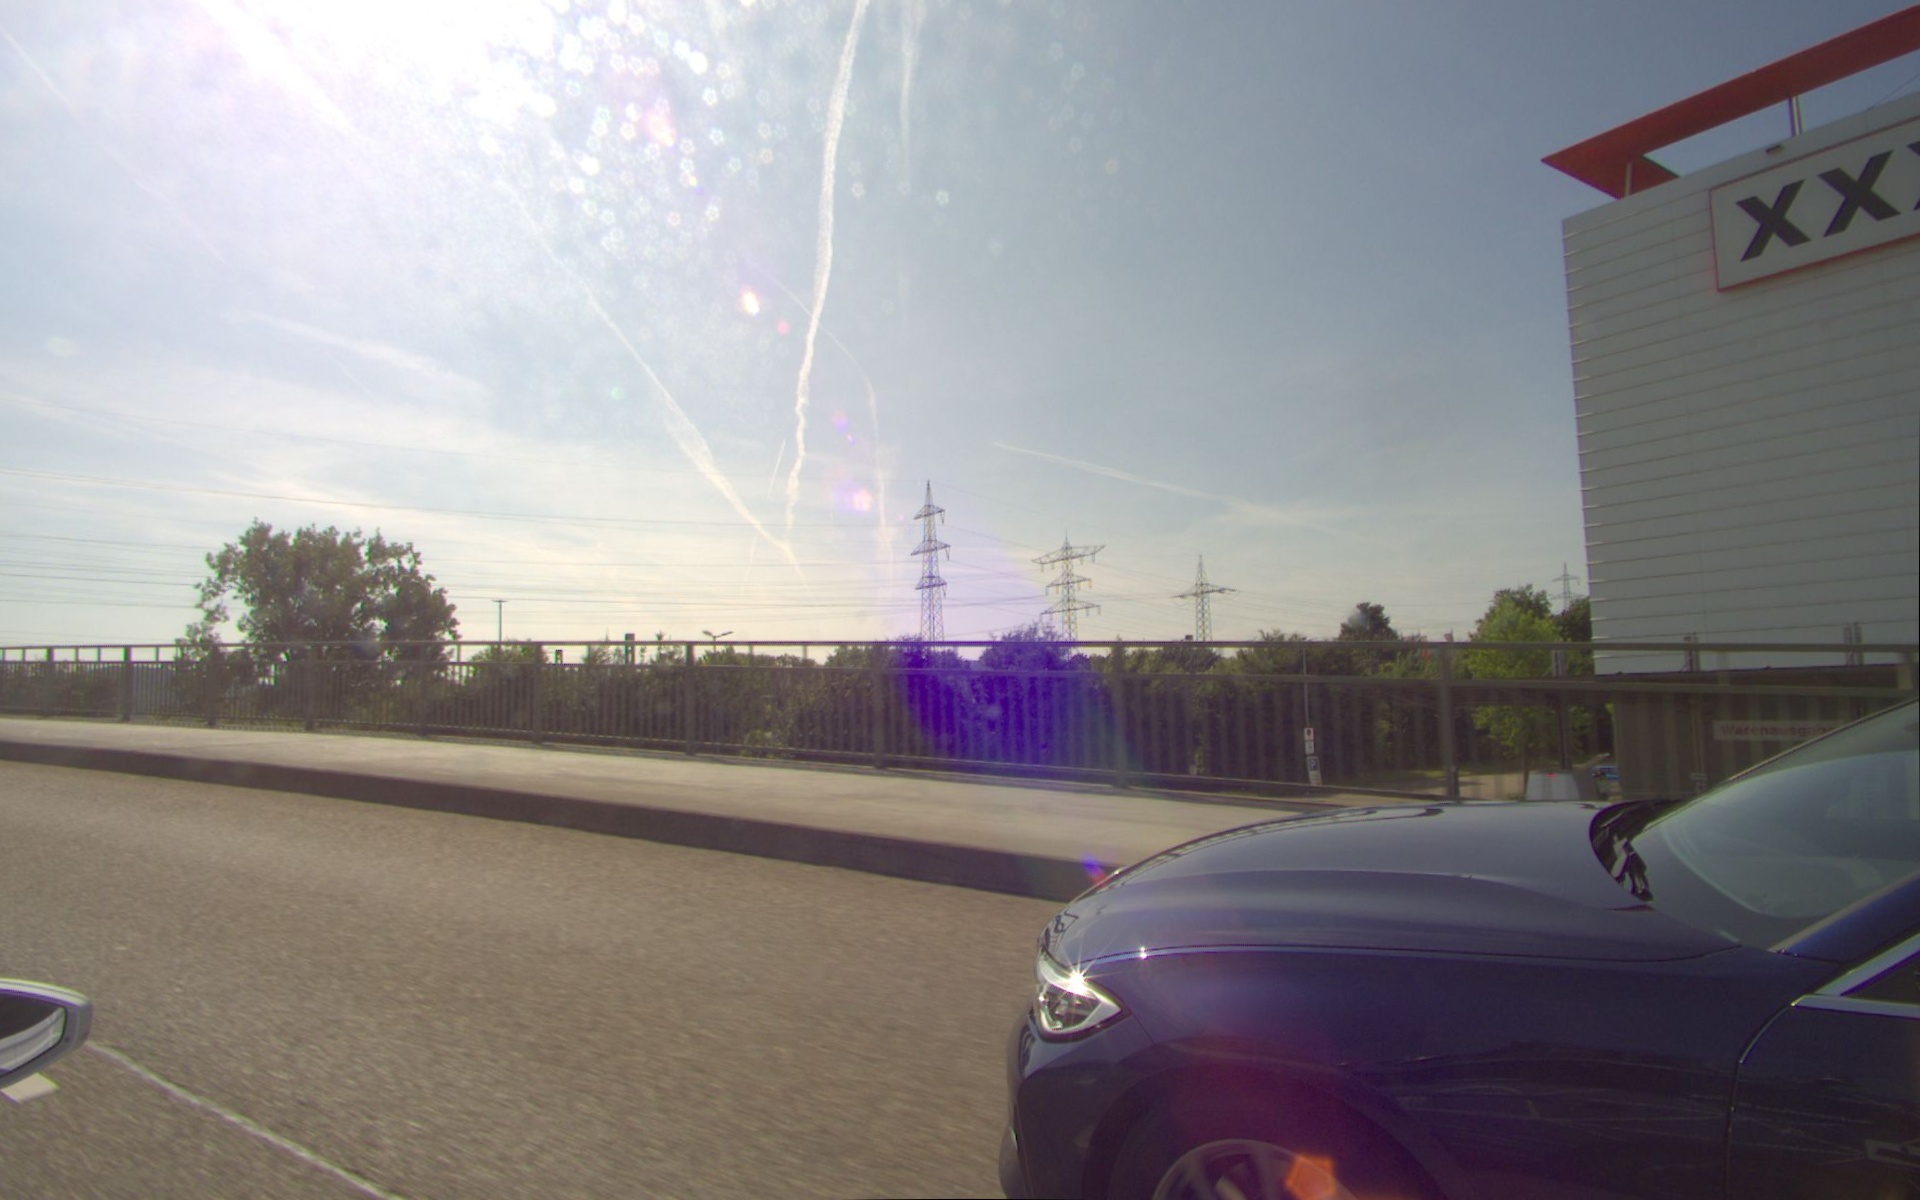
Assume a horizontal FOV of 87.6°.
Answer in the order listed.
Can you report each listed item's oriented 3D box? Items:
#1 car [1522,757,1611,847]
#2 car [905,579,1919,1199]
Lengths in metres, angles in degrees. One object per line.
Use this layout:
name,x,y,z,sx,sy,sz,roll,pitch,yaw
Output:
car,24.380,7.956,40.112,2.108,2.960,5.972,-5,-7,39
car,2.243,0.737,1.652,4.458,1.500,1.785,-5,-6,32
